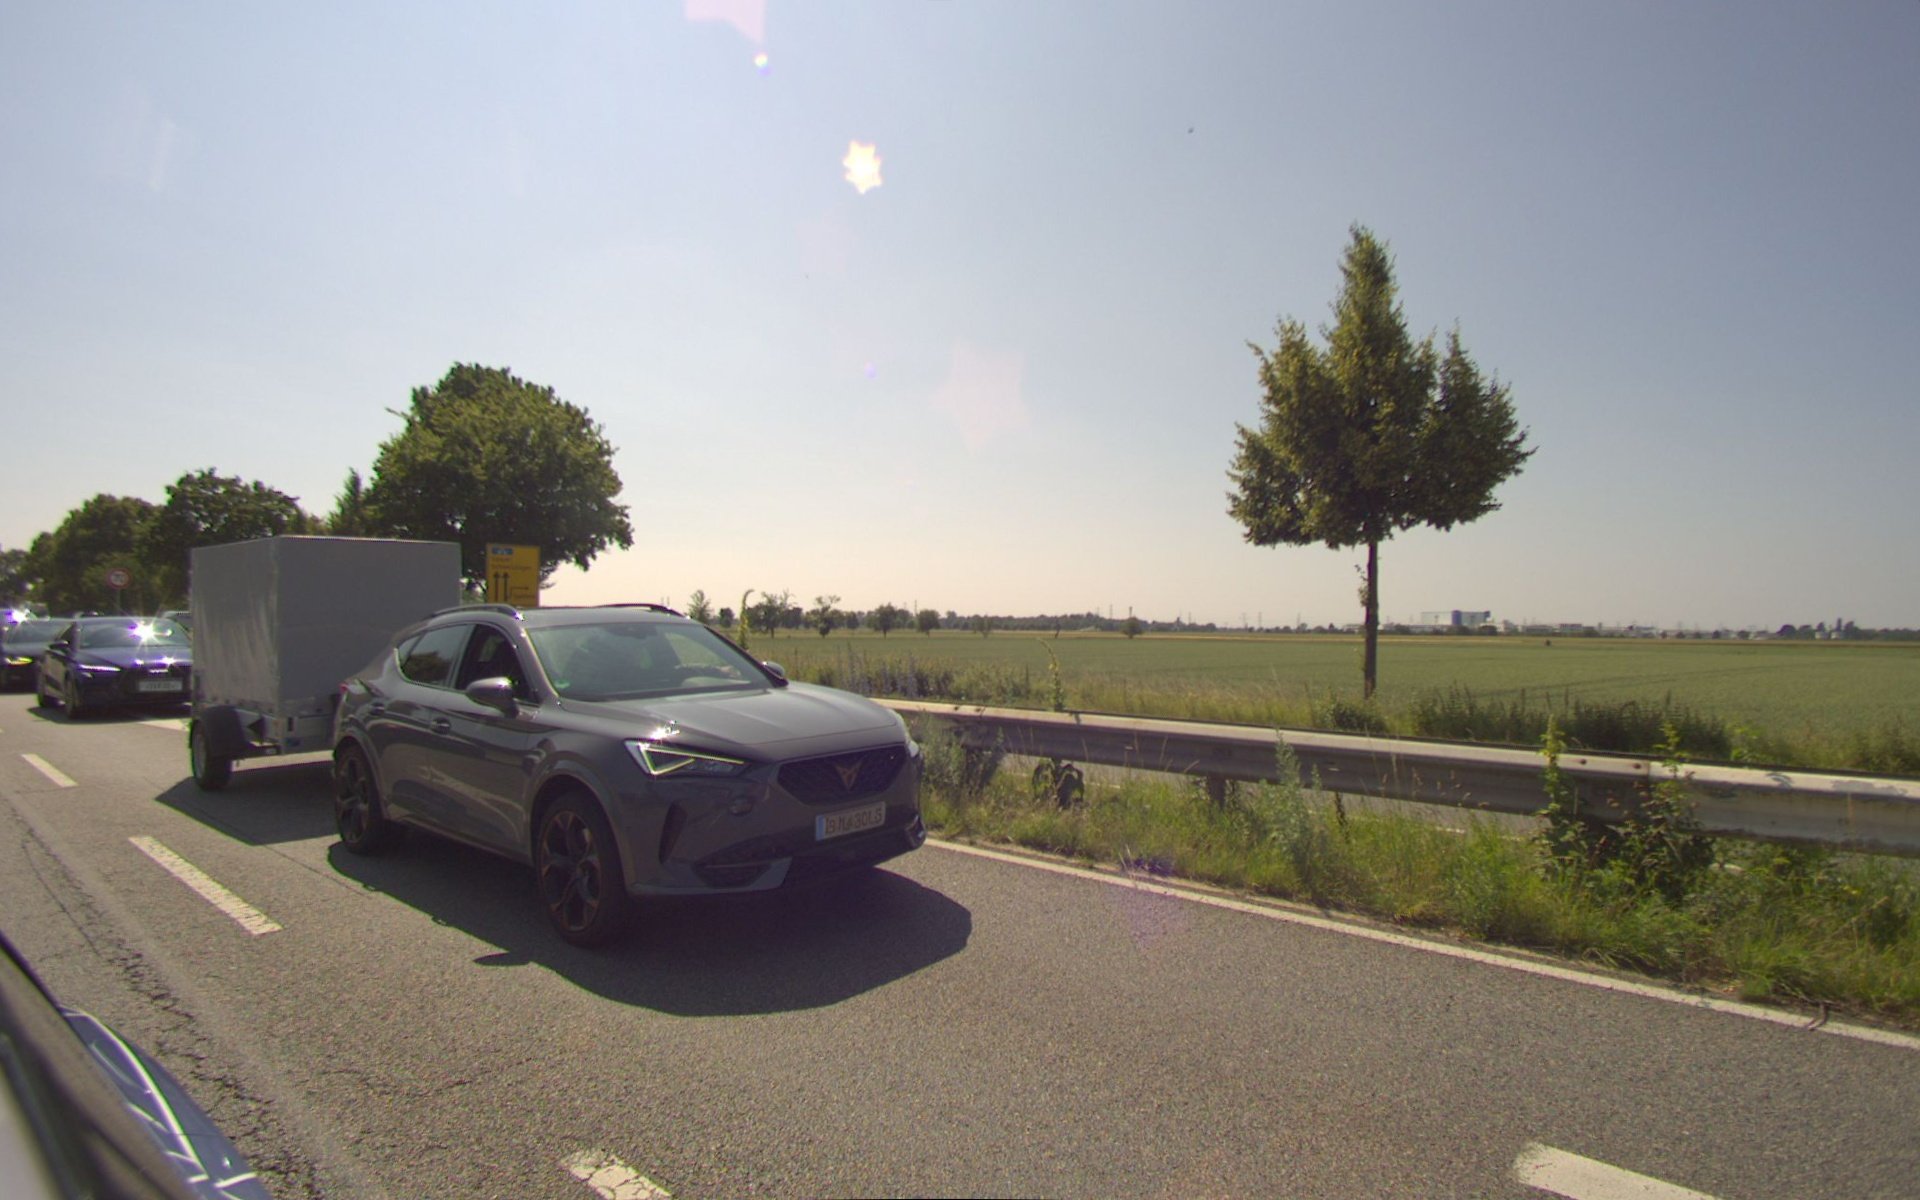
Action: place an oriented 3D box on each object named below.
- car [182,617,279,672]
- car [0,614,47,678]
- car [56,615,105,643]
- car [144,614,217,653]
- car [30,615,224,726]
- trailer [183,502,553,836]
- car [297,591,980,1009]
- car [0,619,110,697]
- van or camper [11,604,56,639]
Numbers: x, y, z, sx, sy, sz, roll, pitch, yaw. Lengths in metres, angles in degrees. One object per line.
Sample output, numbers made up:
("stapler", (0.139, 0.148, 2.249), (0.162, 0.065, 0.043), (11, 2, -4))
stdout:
("car", (-23.483, 1.402, 32.521), (4.136, 1.651, 1.726), (-1, -2, 43))
("car", (-24.768, 1.143, 25.789), (4.099, 1.527, 1.835), (-1, -1, 42))
("car", (-61.909, 2.035, 71.217), (4.693, 1.870, 1.838), (-1, -2, 40))
("car", (-40.991, 1.748, 53.176), (5.012, 1.945, 1.973), (-1, -2, 40))
("car", (-12.875, 0.983, 15.559), (4.028, 1.476, 1.699), (-1, -1, 41))
("trailer", (-5.175, 0.483, 8.592), (4.172, 2.190, 1.485), (-1, -1, 41))
("car", (-2.106, 0.761, 5.780), (4.361, 1.514, 1.727), (-1, -1, 41))
("car", (-18.721, 1.096, 20.492), (4.454, 1.391, 1.722), (-1, 0, 42))
("van or camper", (-83.995, 1.964, 91.766), (5.691, 3.123, 2.240), (-1, -2, 40))
